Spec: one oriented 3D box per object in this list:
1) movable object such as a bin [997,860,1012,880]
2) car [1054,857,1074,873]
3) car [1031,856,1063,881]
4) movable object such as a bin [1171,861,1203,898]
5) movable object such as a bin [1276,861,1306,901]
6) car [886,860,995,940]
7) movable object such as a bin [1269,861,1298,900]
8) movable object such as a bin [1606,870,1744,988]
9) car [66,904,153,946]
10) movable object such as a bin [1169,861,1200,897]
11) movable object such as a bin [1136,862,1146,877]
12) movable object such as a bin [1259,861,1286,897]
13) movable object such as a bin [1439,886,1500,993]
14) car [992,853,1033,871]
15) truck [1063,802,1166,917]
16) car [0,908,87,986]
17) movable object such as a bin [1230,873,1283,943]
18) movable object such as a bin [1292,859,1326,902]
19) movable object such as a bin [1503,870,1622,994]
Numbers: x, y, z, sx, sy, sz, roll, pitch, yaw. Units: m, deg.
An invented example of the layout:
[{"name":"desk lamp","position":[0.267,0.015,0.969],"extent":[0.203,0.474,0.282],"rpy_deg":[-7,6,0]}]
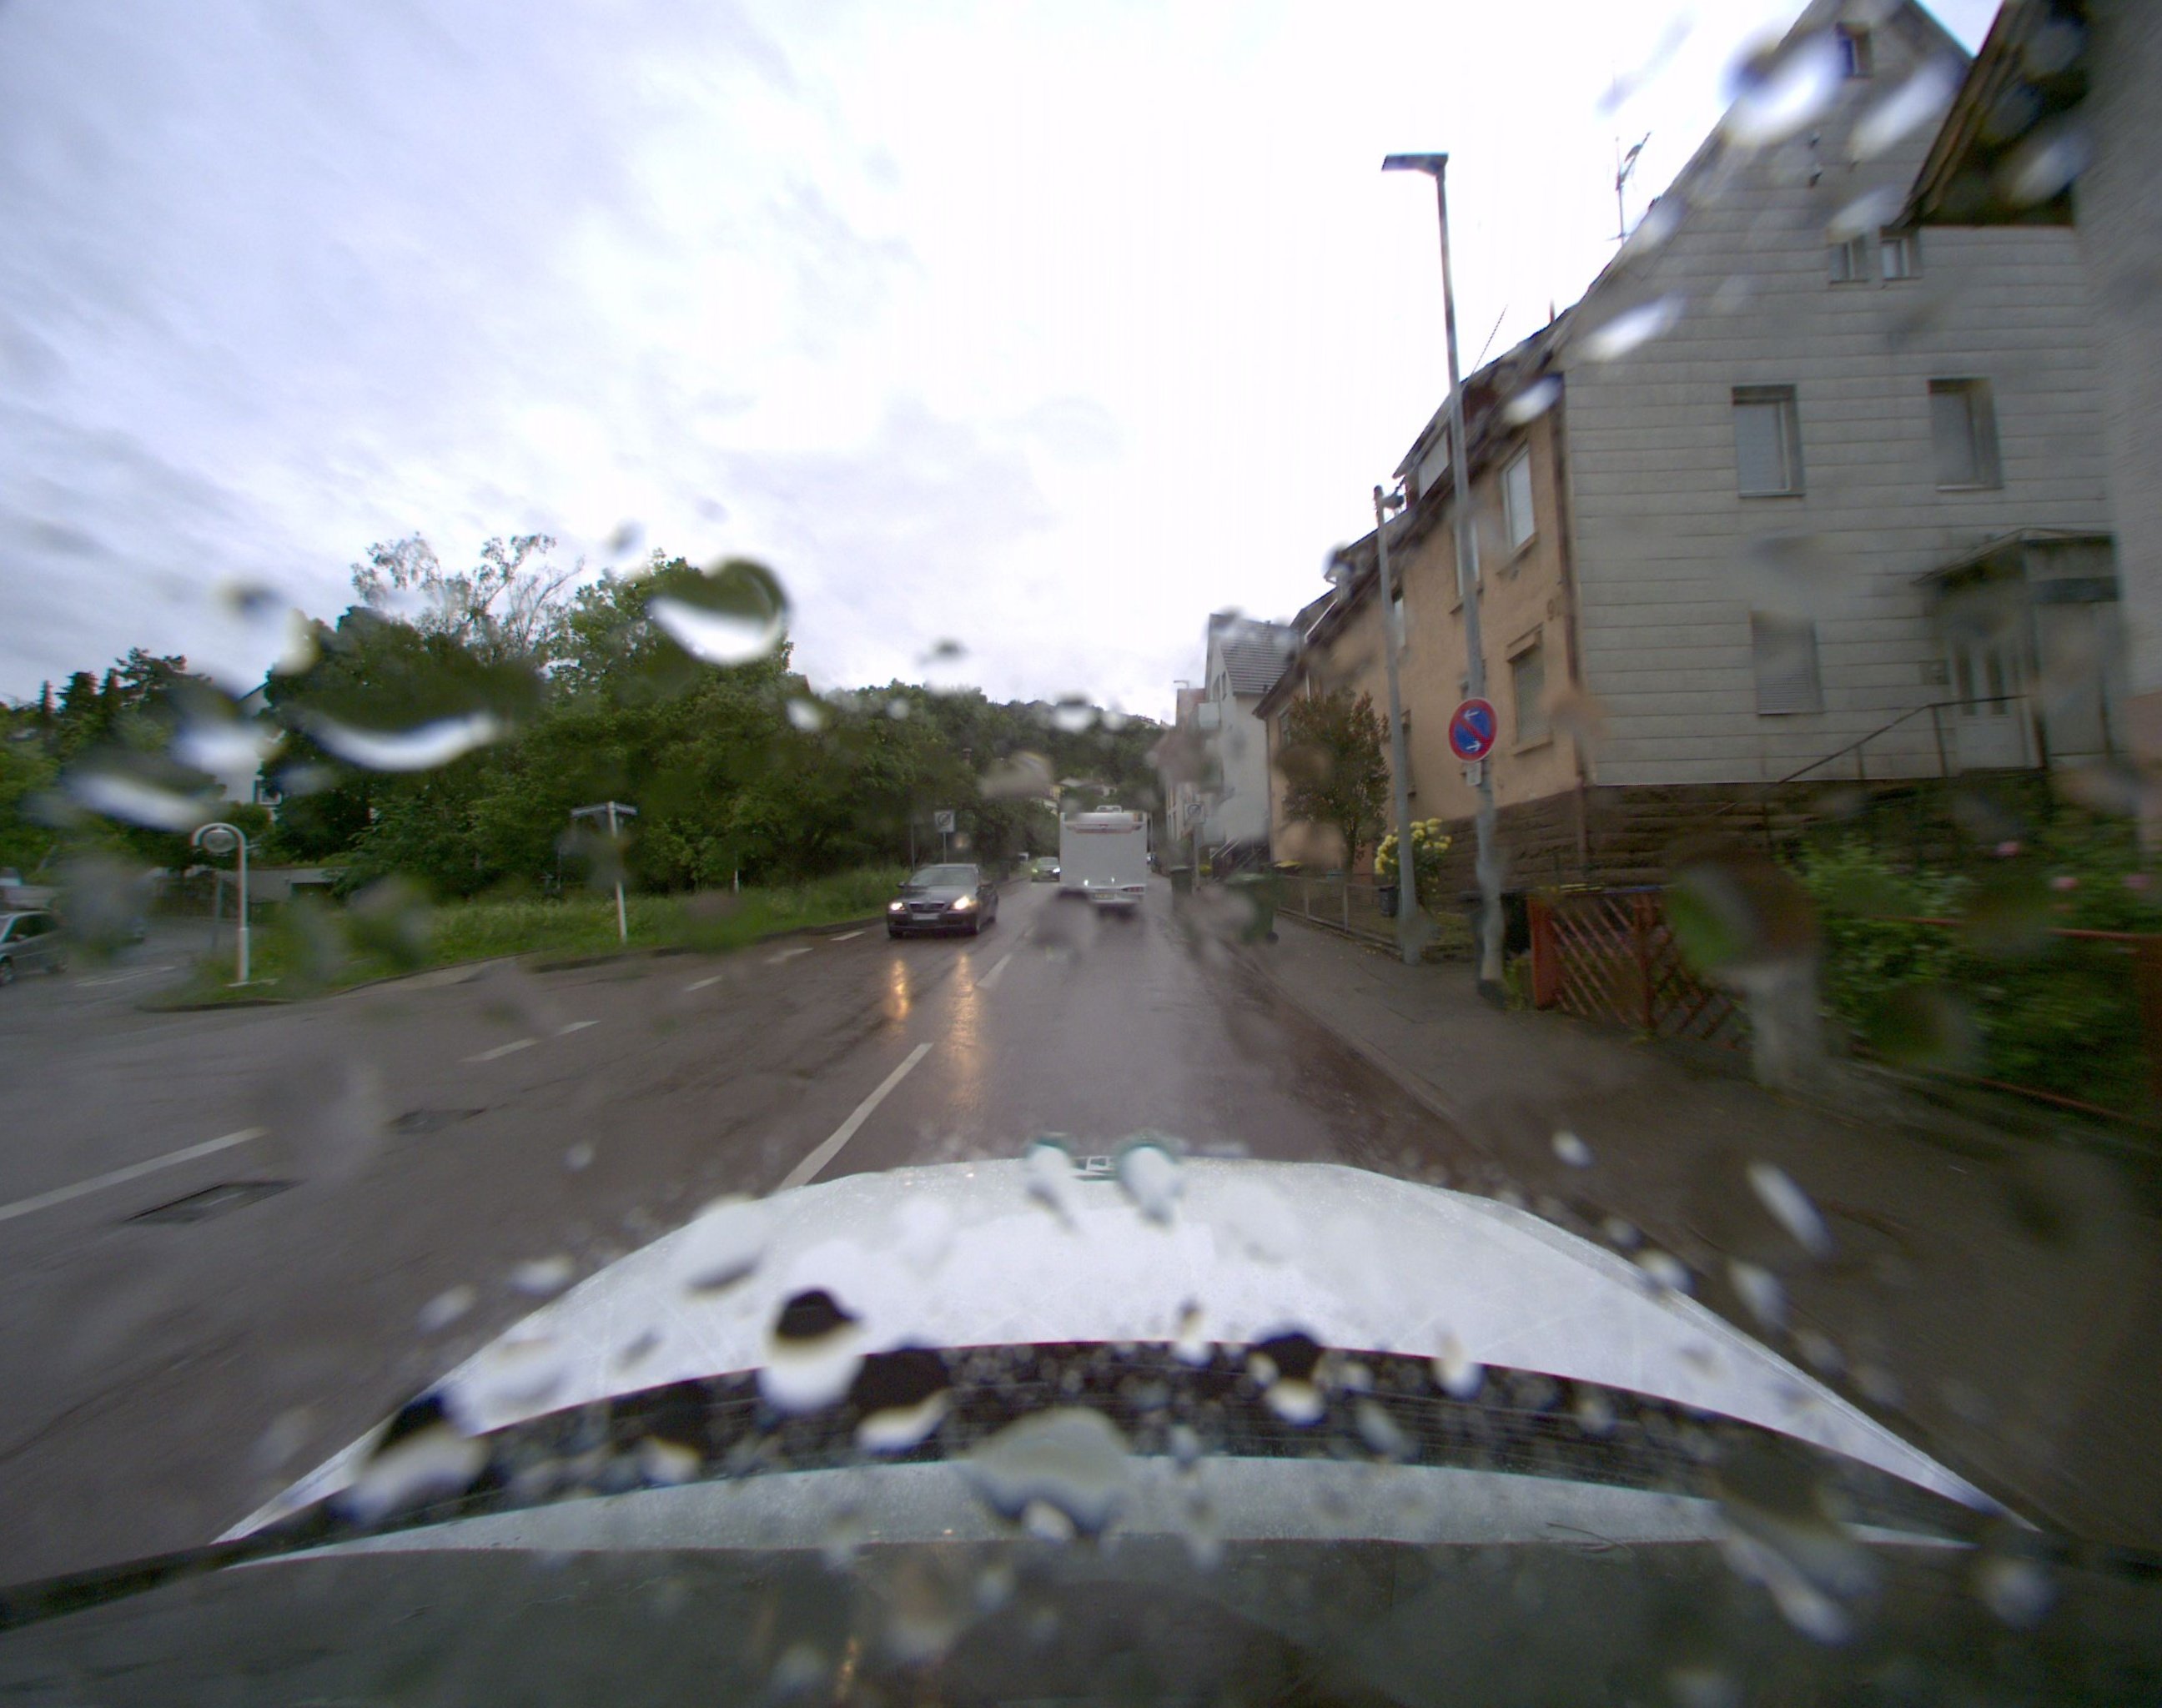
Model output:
[{"name":"movable object such as a bin","position":[-4.280,0.898,45.709],"extent":[0.718,1.100,0.758],"rpy_deg":[1,0,1]},{"name":"car","position":[-1.498,0.976,73.235],"extent":[1.612,1.441,3.738],"rpy_deg":[-1,0,2]},{"name":"car","position":[-2.034,0.851,49.754],"extent":[1.713,1.430,3.845],"rpy_deg":[-1,0,0]},{"name":"movable object such as a bin","position":[3.205,0.779,24.773],"extent":[0.910,1.103,0.703],"rpy_deg":[-1,0,3]},{"name":"movable object such as a bin","position":[6.166,0.783,23.902],"extent":[0.643,1.093,0.545],"rpy_deg":[-5,0,-1]},{"name":"car","position":[-2.806,0.863,17.095],"extent":[1.555,1.454,4.084],"rpy_deg":[-1,0,0]},{"name":"movable object such as a bin","position":[6.094,0.785,24.557],"extent":[0.658,1.093,0.545],"rpy_deg":[-5,0,-1]},{"name":"movable object such as a bin","position":[5.540,0.679,7.642],"extent":[0.608,0.967,0.792],"rpy_deg":[-7,0,-1]},{"name":"car","position":[-35.007,2.504,29.321],"extent":[3.923,1.254,1.733],"rpy_deg":[-1,-1,36]},{"name":"movable object such as a bin","position":[3.244,0.781,25.520],"extent":[0.910,1.103,0.703],"rpy_deg":[-1,0,3]},{"name":"movable object such as a bin","position":[3.668,0.940,49.850],"extent":[0.628,0.897,0.712],"rpy_deg":[-1,0,1]},{"name":"movable object such as a bin","position":[6.191,0.800,26.375],"extent":[0.658,1.093,0.545],"rpy_deg":[-5,0,-1]},{"name":"movable object such as a bin","position":[3.853,0.834,8.095],"extent":[0.378,1.018,0.487],"rpy_deg":[-1,0,1]},{"name":"car","position":[-7.146,0.861,85.296],"extent":[4.089,1.800,2.002],"rpy_deg":[-1,0,3]},{"name":"truck","position":[0.918,0.136,23.156],"extent":[2.506,2.817,6.203],"rpy_deg":[-1,0,1]},{"name":"car","position":[-25.539,2.174,19.189],"extent":[1.566,1.548,3.997],"rpy_deg":[0,-1,-34]},{"name":"movable object such as a bin","position":[2.781,0.843,12.967],"extent":[0.717,1.052,0.801],"rpy_deg":[-1,0,4]},{"name":"movable object such as a bin","position":[6.129,0.693,21.947],"extent":[0.658,1.093,0.655],"rpy_deg":[-4,0,-1]},{"name":"movable object such as a bin","position":[4.634,0.723,7.884],"extent":[0.608,1.077,0.792],"rpy_deg":[-4,0,-1]}]
